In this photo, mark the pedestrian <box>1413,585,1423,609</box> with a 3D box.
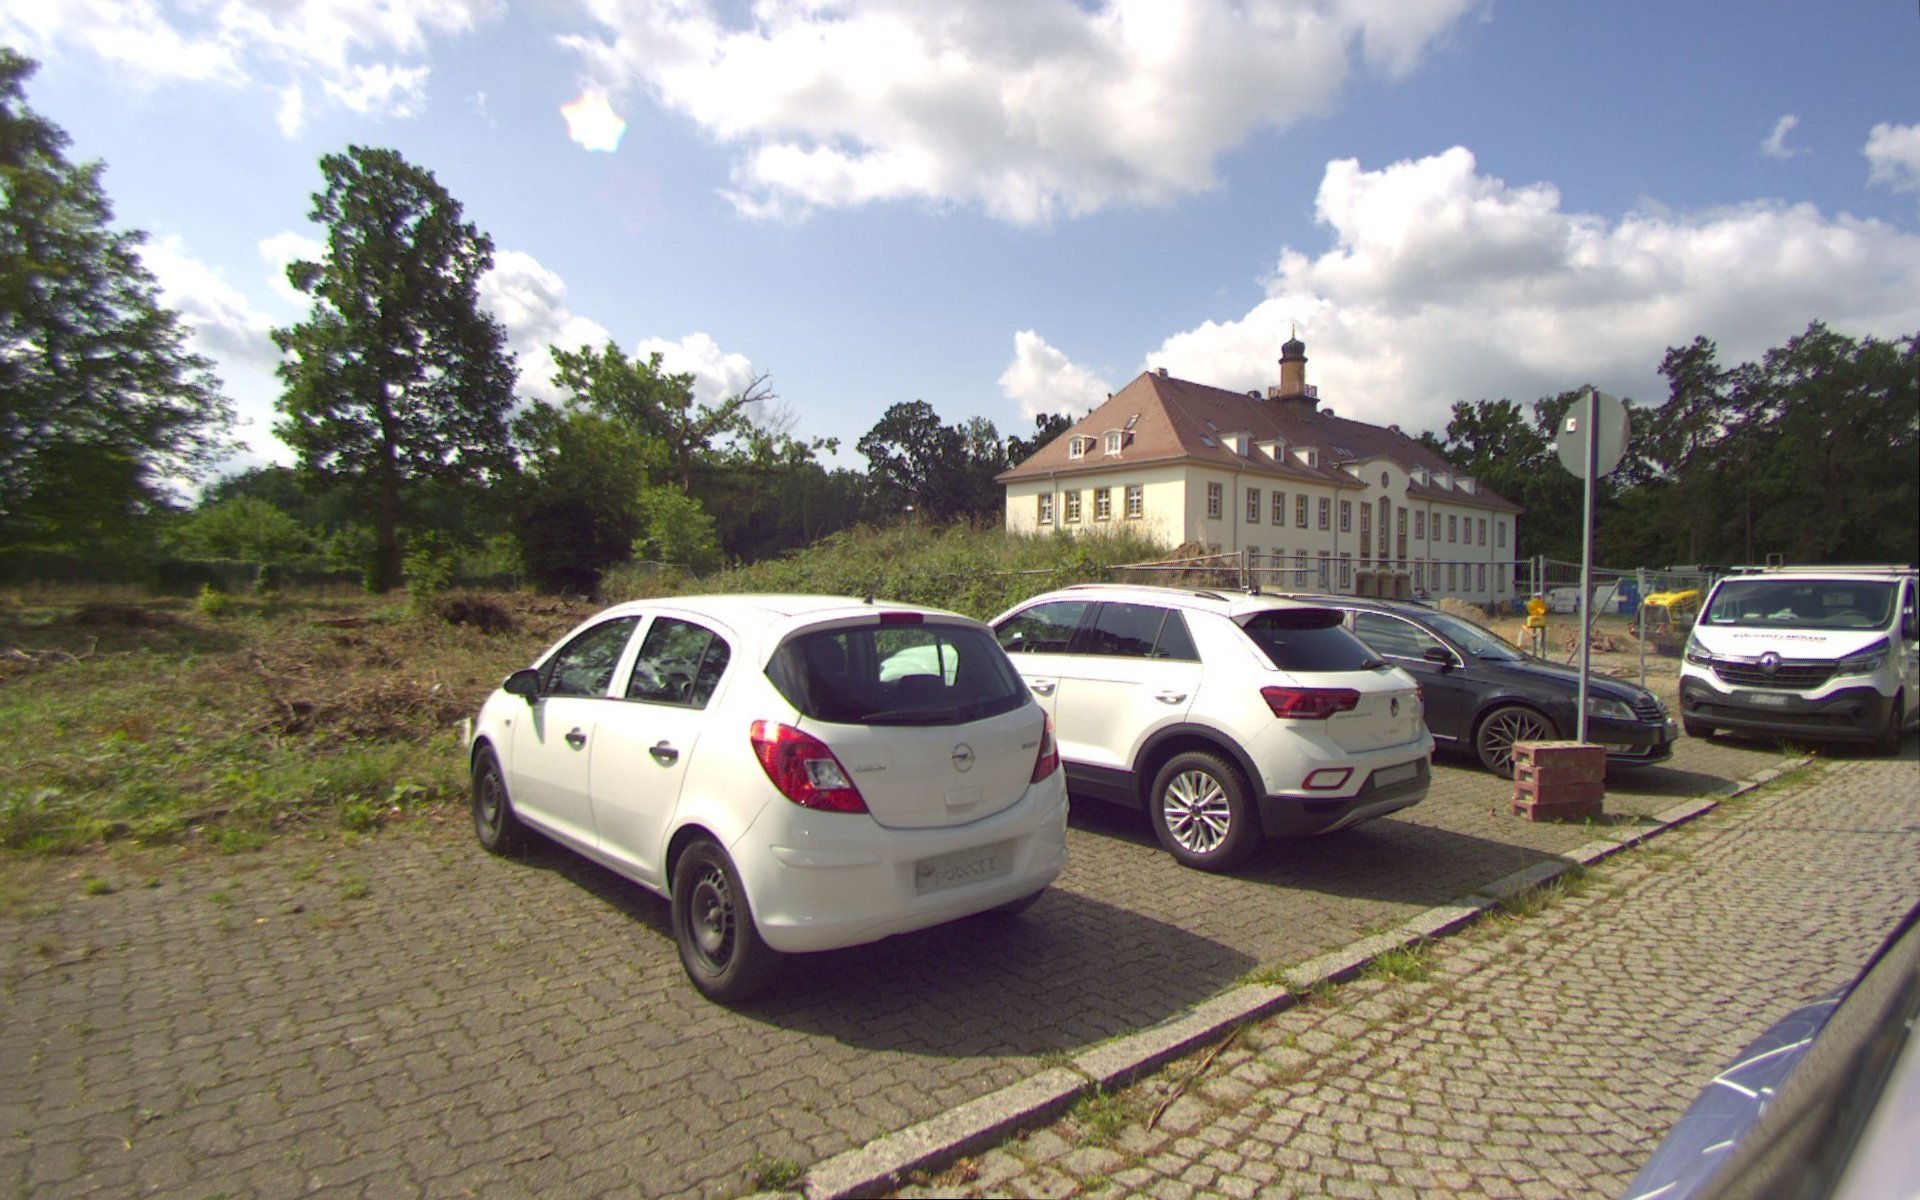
[{"bbox_3d":[34.795,-0.230,76.862,0.496,1.810,0.492,1,0,-17],"label":"pedestrian"}]

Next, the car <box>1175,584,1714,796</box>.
[{"bbox_3d":[4.496,0.660,9.966,1.717,1.493,4.459,0,2,-44],"label":"car"}]

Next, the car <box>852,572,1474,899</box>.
[{"bbox_3d":[1.128,0.622,7.035,1.717,1.525,3.993,0,2,-42],"label":"car"}]

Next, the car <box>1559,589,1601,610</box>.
[{"bbox_3d":[52.515,-0.068,85.706,3.967,1.704,1.802,0,1,-39],"label":"car"}]

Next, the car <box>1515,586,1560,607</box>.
[{"bbox_3d":[50.361,-0.331,88.191,4.623,1.749,1.884,0,1,-39],"label":"car"}]

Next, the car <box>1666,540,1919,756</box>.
[{"bbox_3d":[10.609,0.434,12.251,5.576,2.079,1.918,0,1,-39],"label":"car"}]

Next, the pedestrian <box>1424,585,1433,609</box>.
[{"bbox_3d":[35.948,-0.232,77.713,0.498,1.810,0.490,1,0,-43],"label":"pedestrian"}]

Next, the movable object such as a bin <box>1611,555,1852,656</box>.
[{"bbox_3d":[21.399,0.150,28.155,5.538,2.553,2.154,2,1,-11],"label":"movable object such as a bin"}]

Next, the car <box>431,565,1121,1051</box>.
[{"bbox_3d":[-1.288,0.613,5.302,1.675,1.482,4.049,0,2,-42],"label":"car"}]
